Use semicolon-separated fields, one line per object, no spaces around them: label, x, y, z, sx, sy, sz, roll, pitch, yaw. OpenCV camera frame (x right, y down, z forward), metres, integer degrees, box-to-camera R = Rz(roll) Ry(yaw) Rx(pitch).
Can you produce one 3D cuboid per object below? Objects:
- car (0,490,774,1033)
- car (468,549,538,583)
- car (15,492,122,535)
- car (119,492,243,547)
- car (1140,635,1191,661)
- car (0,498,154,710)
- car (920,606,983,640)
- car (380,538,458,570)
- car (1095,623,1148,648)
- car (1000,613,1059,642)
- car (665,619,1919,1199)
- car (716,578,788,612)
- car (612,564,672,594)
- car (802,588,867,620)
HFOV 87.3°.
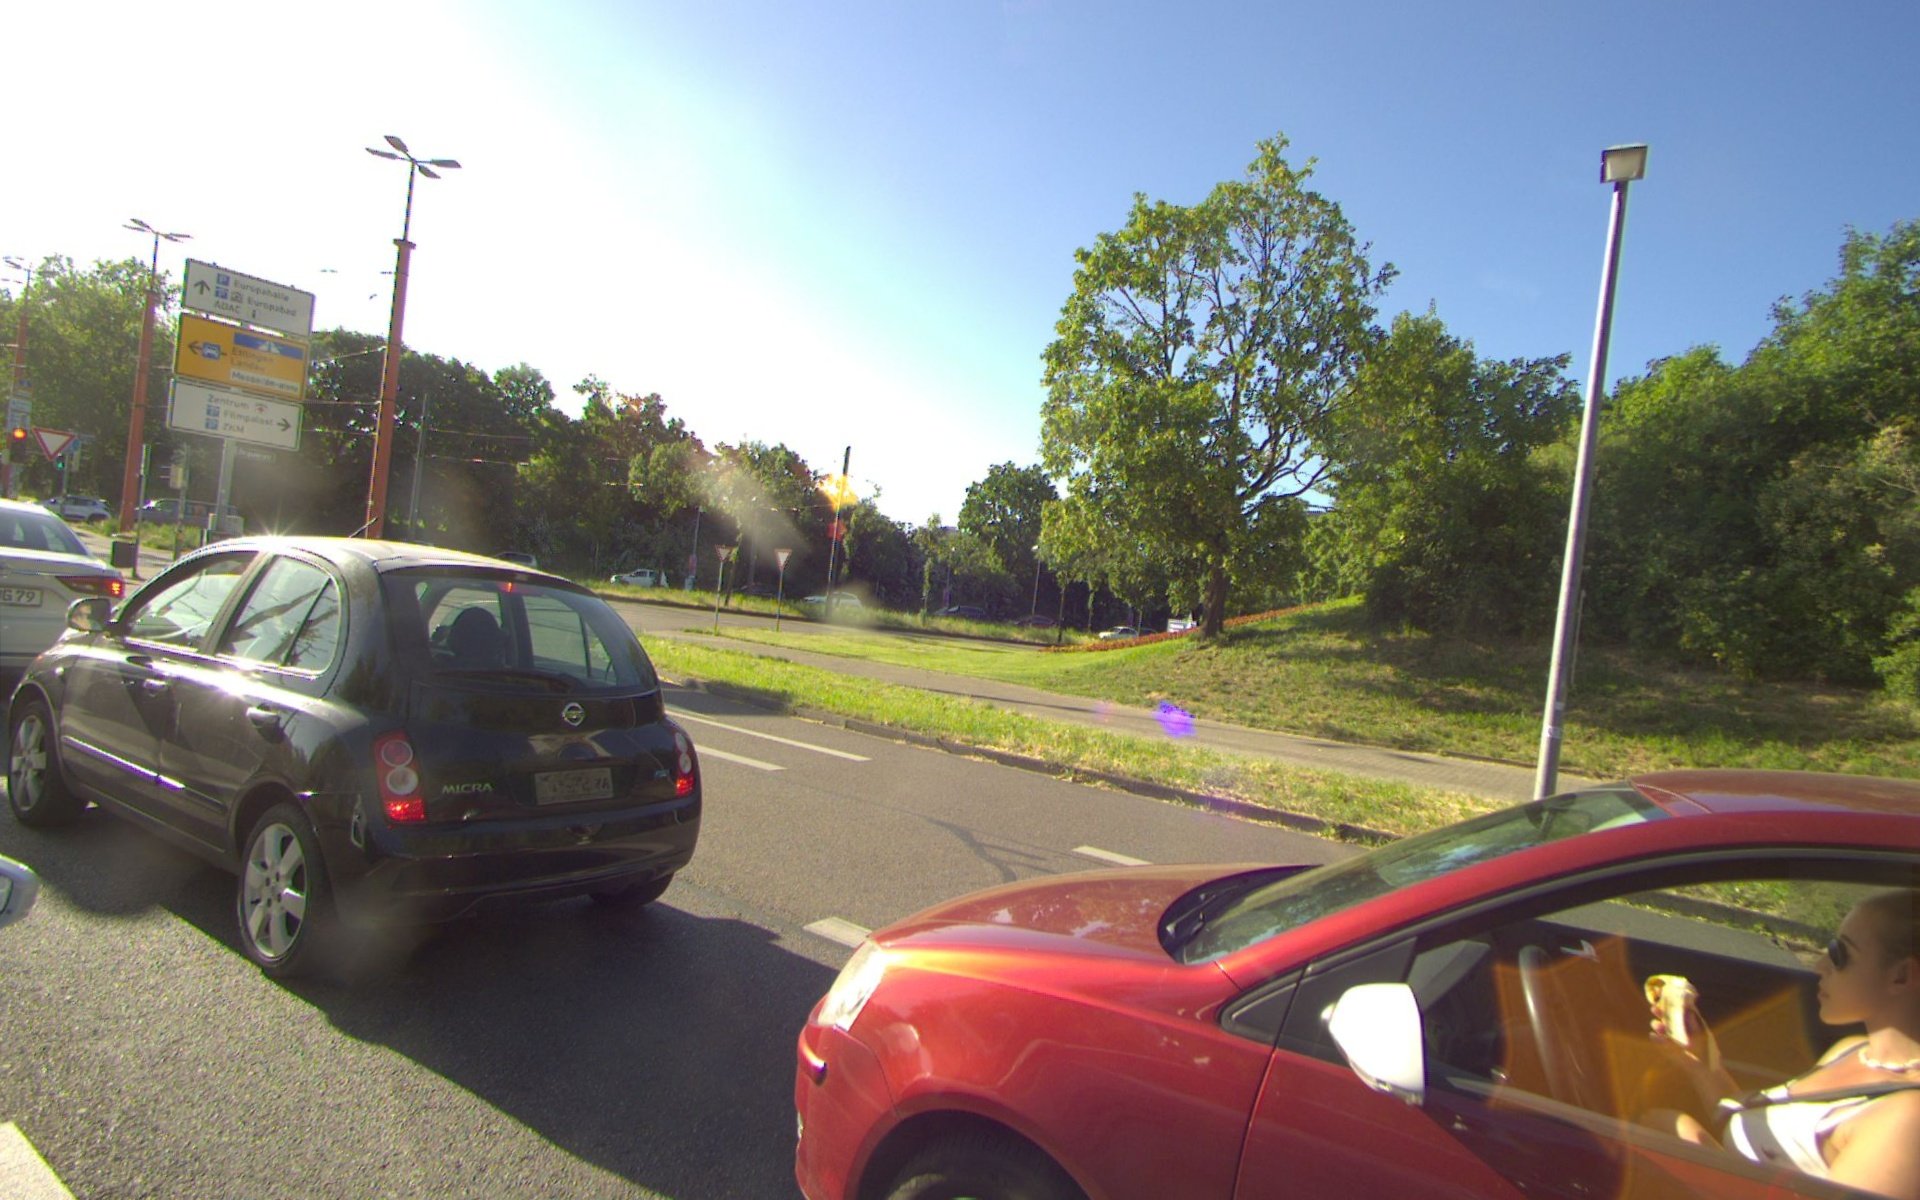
car;-2.839;0.466;4.709;3.555;1.518;1.657;7;-2;32
car;-26.277;-1.945;57.885;3.371;1.475;1.452;8;-1;-32
car;-44.678;-4.316;50.516;3.710;1.491;1.587;8;-1;-32
car;-38.959;-3.985;50.472;4.535;2.038;1.985;8;-1;-30
car;18.083;4.251;88.454;3.955;1.693;1.827;9;-2;-28
car;-8.349;-0.173;8.015;4.130;1.454;1.723;7;-1;33
car;-0.595;1.694;72.544;4.169;1.906;1.750;8;-1;-35
car;-31.479;-2.653;58.507;3.804;1.278;1.590;9;-3;-32
car;13.071;2.865;81.416;3.970;1.546;1.694;8;-1;-30
car;5.617;2.206;80.865;4.257;1.725;1.833;8;-1;-29
car;1.395;1.010;1.879;3.700;1.455;1.644;6;-2;33
car;-13.551;-0.329;65.509;4.000;1.615;1.981;8;-1;-35
car;-20.573;-1.356;65.155;3.413;1.384;1.280;9;-2;-31
car;-8.994;0.284;72.054;4.195;1.701;1.690;8;-1;-29
